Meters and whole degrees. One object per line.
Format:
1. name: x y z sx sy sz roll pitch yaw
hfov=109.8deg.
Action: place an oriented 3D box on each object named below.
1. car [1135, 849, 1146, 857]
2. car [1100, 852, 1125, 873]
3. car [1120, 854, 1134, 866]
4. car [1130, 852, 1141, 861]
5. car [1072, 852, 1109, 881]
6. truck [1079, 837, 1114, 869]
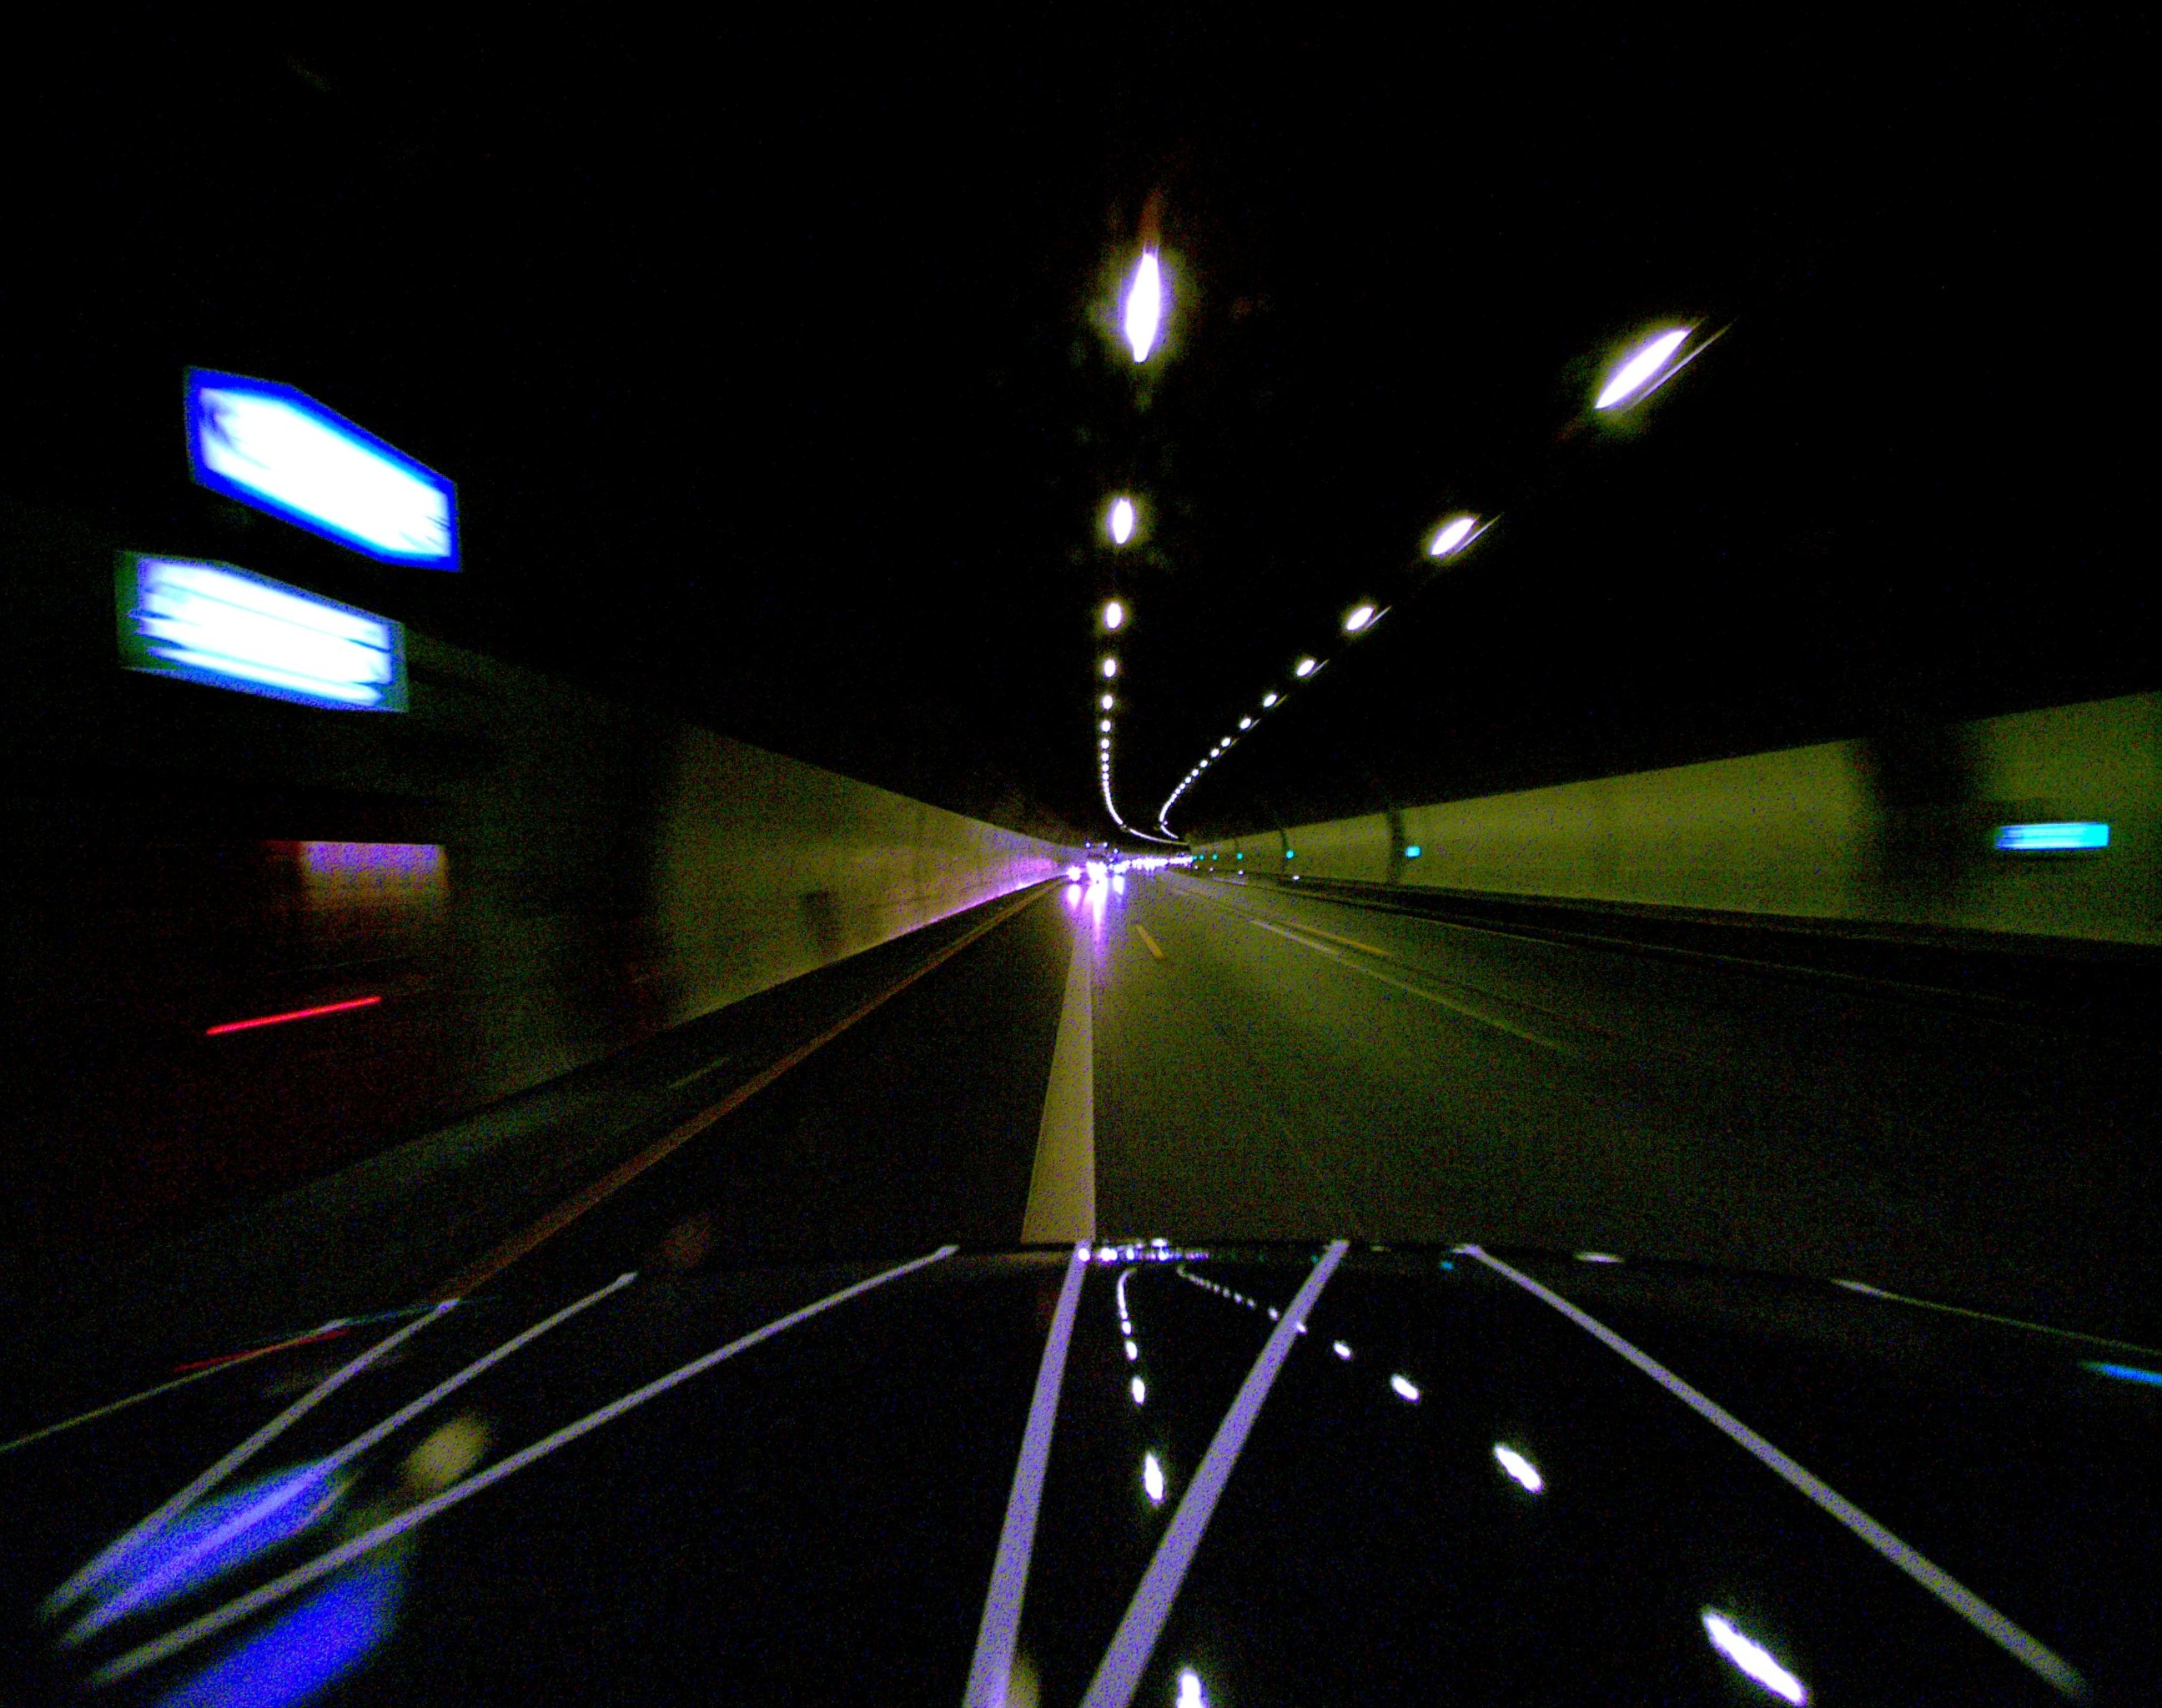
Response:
1. car: 14.486 -0.310 184.366 1.996 1.917 4.389 -3 0 14
2. car: 2.780 0.690 65.978 1.998 1.655 4.000 -4 0 3
3. car: 8.610 1.098 141.118 1.997 1.892 4.003 -3 0 10
4. car: 12.010 0.620 167.773 1.997 1.892 4.002 -3 0 9
5. car: 0.652 0.779 49.388 2.171 1.709 4.482 -3 0 2
6. truck: 1.849 -0.157 83.820 2.988 3.161 10.512 -3 0 5
